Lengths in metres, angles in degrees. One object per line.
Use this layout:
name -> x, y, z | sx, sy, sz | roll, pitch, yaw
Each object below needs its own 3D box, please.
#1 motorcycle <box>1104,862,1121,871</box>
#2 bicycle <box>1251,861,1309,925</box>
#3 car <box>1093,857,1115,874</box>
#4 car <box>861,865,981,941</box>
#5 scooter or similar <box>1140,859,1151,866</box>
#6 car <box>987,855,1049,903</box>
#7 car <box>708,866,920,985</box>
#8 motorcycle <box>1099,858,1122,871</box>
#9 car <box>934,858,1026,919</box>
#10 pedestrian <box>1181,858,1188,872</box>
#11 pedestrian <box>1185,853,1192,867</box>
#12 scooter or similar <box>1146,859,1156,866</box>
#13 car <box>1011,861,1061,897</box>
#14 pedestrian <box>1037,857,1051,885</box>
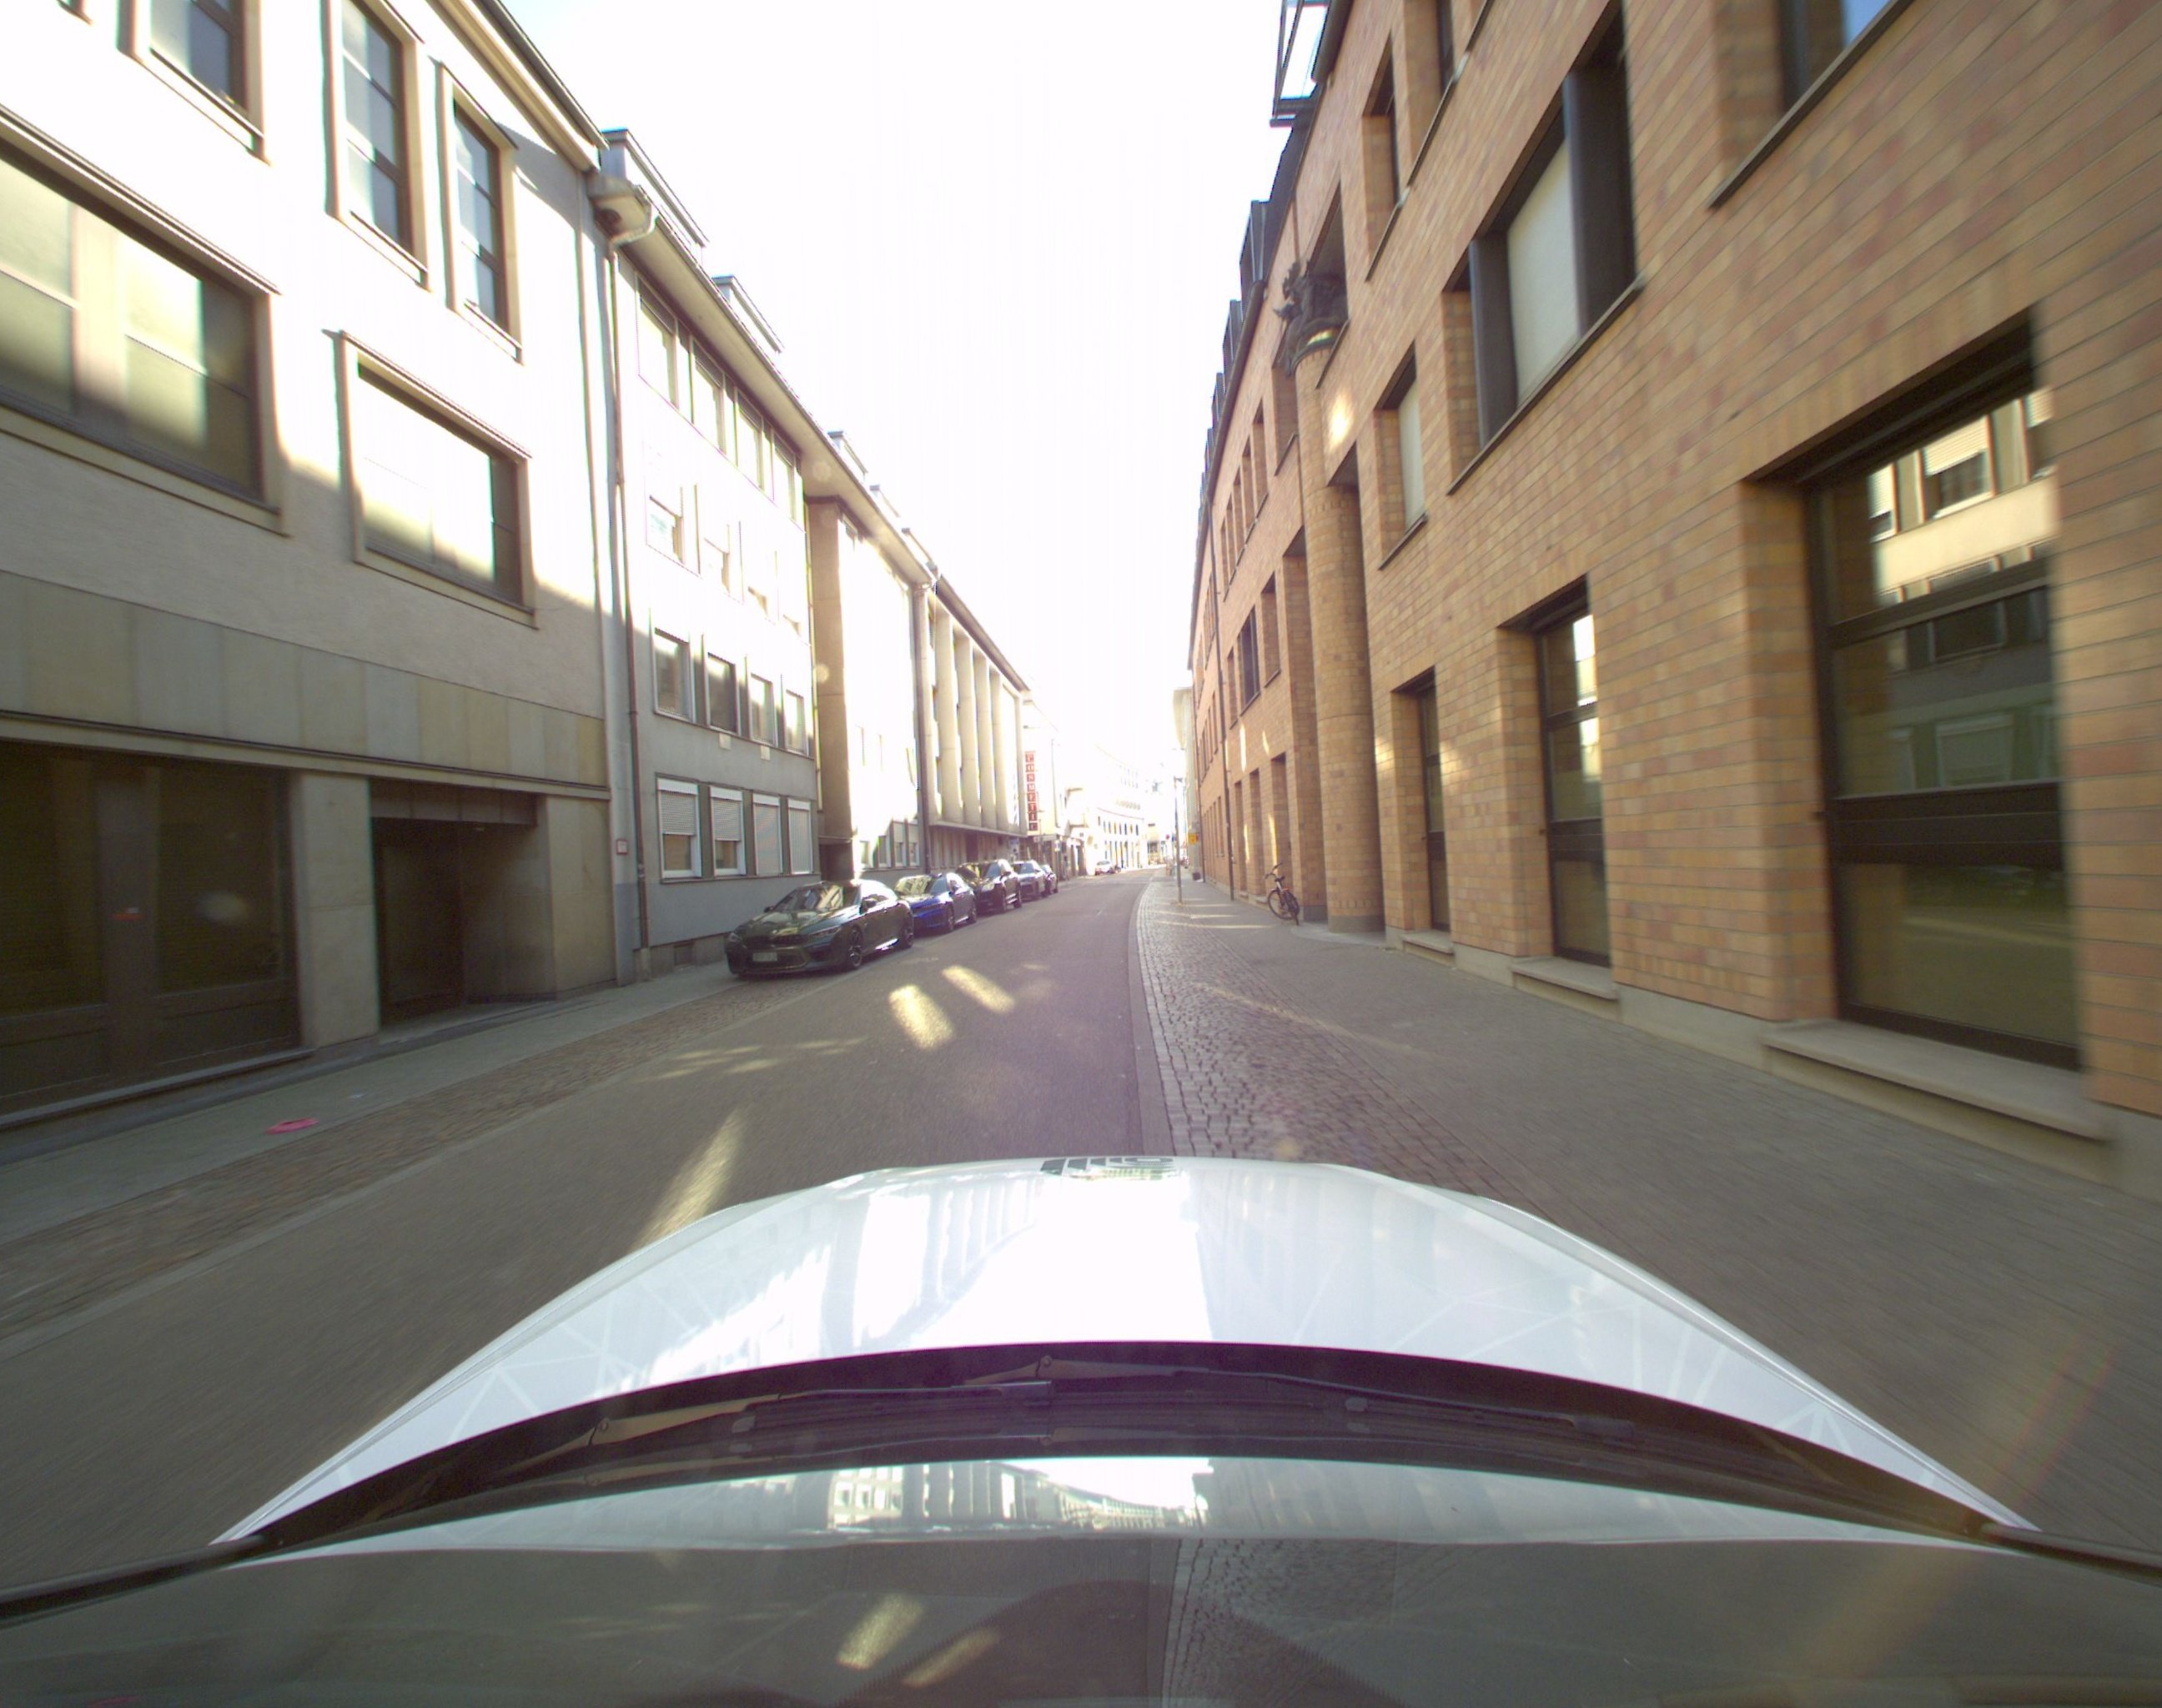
motorcycle -> 3.372, 1.325, 86.663 | 1.680, 0.859, 0.596 | -1, -1, 10
bicycle -> 3.854, 0.723, 15.913 | 0.548, 1.103, 1.982 | -6, 0, 0
car -> 2.272, 1.112, 79.237 | 1.727, 1.606, 3.539 | -2, 0, 6
car -> -3.828, 1.121, 20.293 | 1.882, 1.530, 4.342 | -4, 0, 2
scooter or similar -> 9.629, 1.310, 121.661 | 0.520, 0.928, 2.242 | -2, 0, 36
car -> -2.532, 0.990, 33.816 | 1.882, 1.742, 4.394 | -4, 0, 3
car -> -4.347, 1.077, 14.192 | 1.882, 1.530, 4.731 | -4, 0, 2
motorcycle -> 3.248, 1.174, 90.523 | 2.379, 1.317, 0.863 | -4, -1, 5
car -> -3.154, 1.034, 26.359 | 1.880, 1.675, 4.561 | -4, 0, 6
pedestrian -> 14.172, 1.550, 111.577 | 0.662, 1.869, 0.780 | -1, -1, -24
pedestrian -> 14.053, 0.777, 106.379 | 0.662, 1.869, 0.755 | -1, -1, -25
scooter or similar -> 10.766, 1.290, 125.193 | 0.520, 0.928, 2.242 | -2, 0, 36
car -> -2.097, 1.168, 39.150 | 1.640, 1.460, 4.005 | -6, -1, 6
pedestrian -> -2.275, 1.043, 49.642 | 0.650, 1.625, 0.452 | -3, -1, -36
